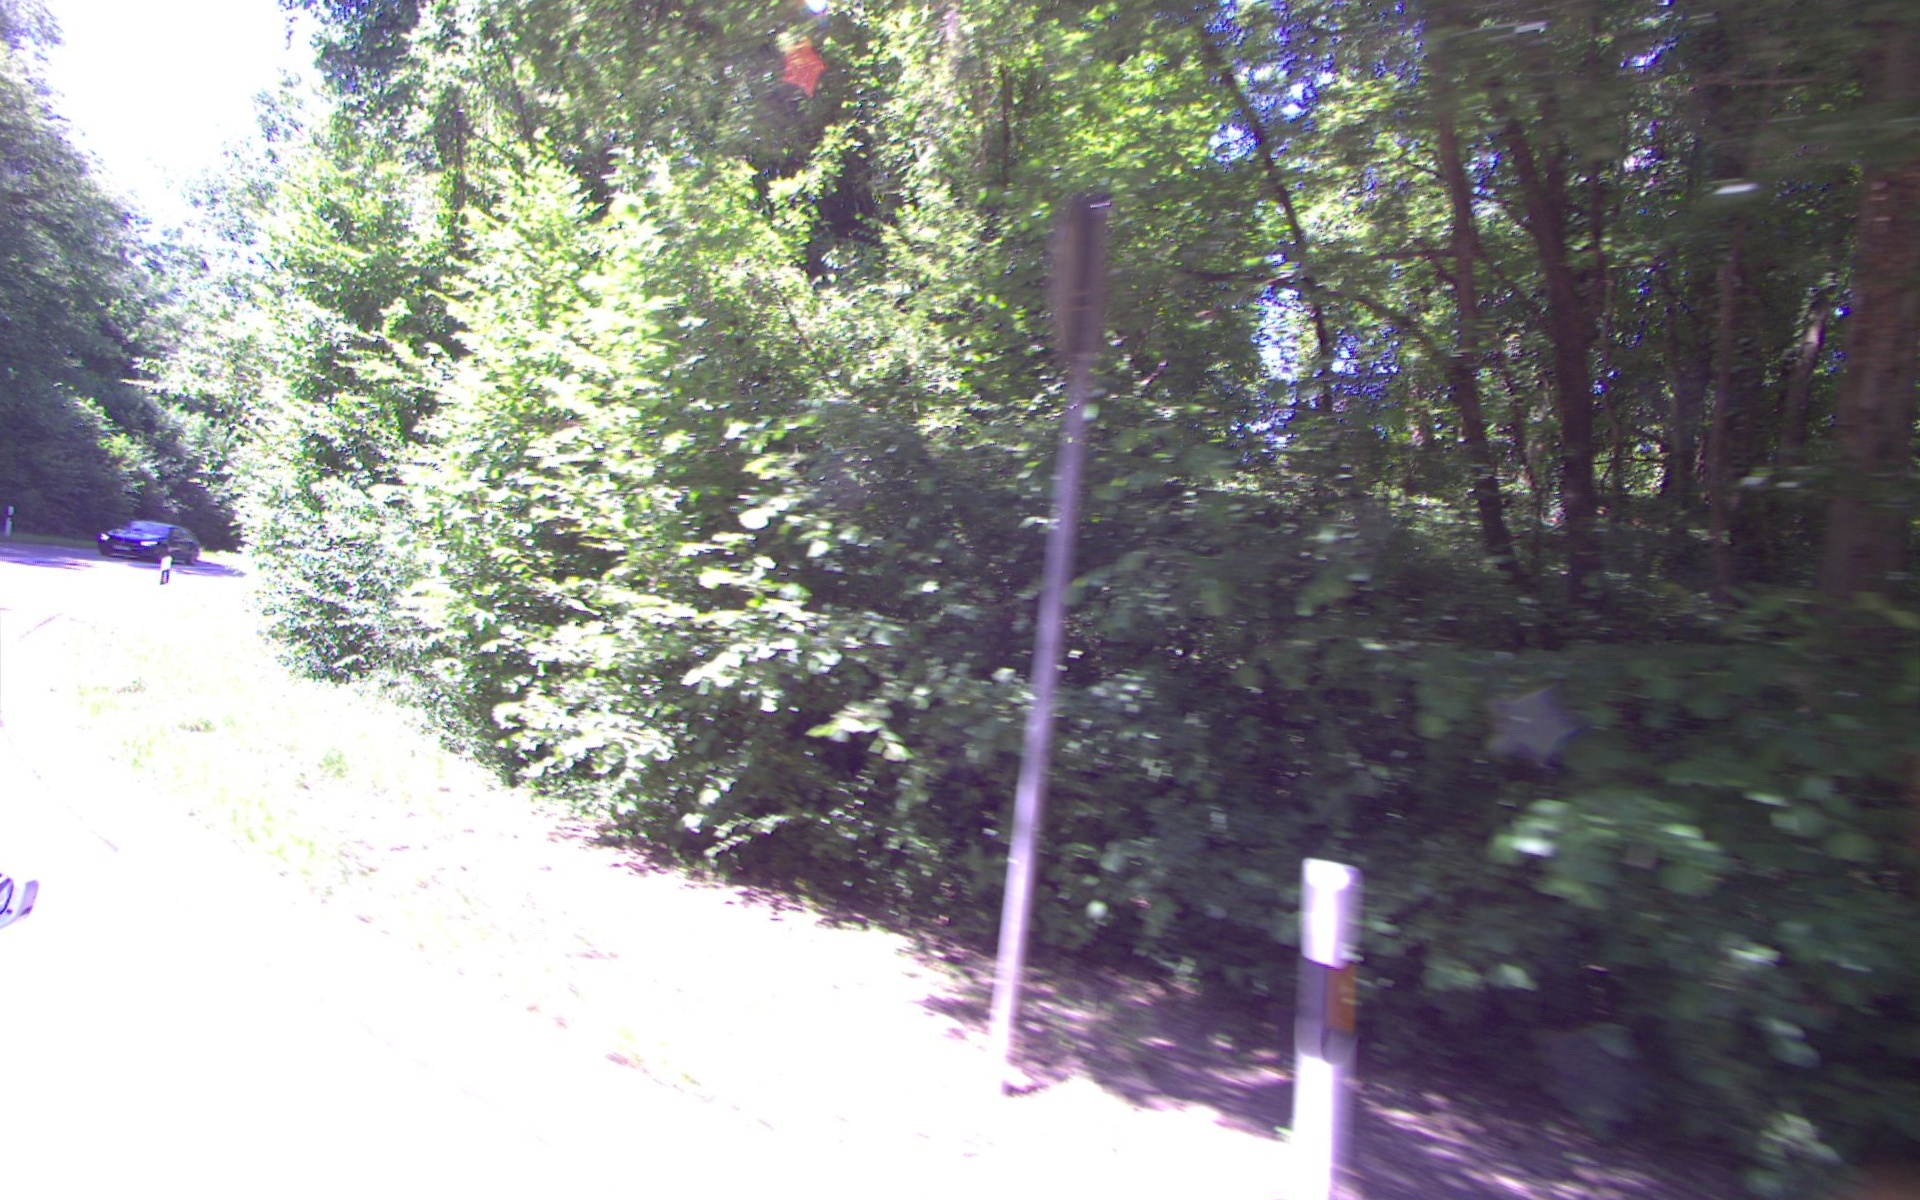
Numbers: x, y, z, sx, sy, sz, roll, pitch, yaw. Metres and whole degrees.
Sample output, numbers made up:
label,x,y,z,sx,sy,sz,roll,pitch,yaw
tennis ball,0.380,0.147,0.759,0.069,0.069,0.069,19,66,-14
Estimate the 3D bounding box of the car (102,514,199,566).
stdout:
label,x,y,z,sx,sy,sz,roll,pitch,yaw
car,-30.093,-2.180,37.501,1.727,1.468,3.637,10,-3,-23
